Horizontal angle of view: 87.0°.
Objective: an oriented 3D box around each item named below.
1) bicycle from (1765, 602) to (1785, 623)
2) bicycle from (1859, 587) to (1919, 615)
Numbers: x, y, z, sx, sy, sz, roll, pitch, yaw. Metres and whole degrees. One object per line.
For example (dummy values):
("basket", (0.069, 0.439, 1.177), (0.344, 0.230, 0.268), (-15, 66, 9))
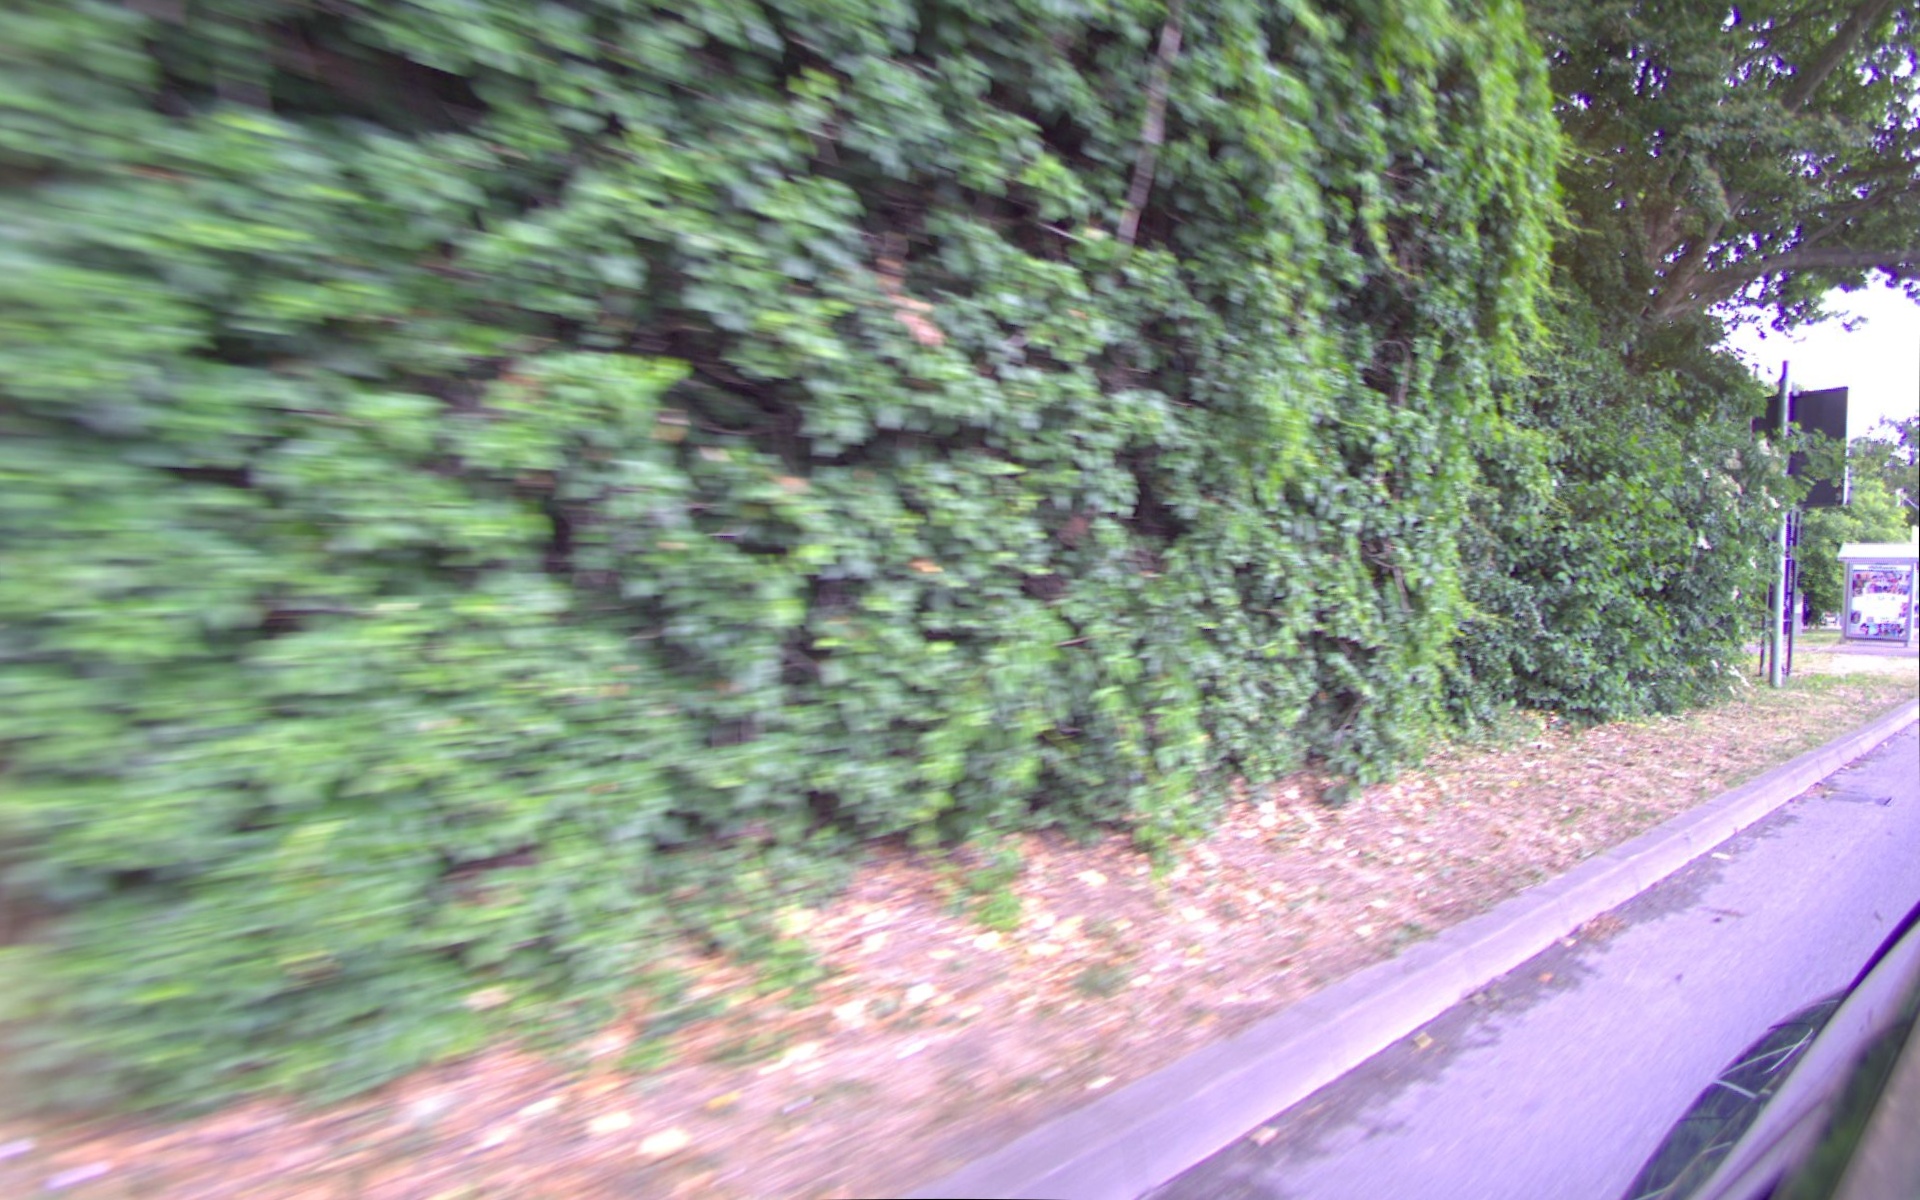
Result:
("bicycle", (32.508, 0.479, 40.366), (0.476, 0.818, 1.490), (1, 1, 44))
("bicycle", (33.673, 0.032, 36.433), (0.535, 0.936, 1.871), (0, 2, -39))
